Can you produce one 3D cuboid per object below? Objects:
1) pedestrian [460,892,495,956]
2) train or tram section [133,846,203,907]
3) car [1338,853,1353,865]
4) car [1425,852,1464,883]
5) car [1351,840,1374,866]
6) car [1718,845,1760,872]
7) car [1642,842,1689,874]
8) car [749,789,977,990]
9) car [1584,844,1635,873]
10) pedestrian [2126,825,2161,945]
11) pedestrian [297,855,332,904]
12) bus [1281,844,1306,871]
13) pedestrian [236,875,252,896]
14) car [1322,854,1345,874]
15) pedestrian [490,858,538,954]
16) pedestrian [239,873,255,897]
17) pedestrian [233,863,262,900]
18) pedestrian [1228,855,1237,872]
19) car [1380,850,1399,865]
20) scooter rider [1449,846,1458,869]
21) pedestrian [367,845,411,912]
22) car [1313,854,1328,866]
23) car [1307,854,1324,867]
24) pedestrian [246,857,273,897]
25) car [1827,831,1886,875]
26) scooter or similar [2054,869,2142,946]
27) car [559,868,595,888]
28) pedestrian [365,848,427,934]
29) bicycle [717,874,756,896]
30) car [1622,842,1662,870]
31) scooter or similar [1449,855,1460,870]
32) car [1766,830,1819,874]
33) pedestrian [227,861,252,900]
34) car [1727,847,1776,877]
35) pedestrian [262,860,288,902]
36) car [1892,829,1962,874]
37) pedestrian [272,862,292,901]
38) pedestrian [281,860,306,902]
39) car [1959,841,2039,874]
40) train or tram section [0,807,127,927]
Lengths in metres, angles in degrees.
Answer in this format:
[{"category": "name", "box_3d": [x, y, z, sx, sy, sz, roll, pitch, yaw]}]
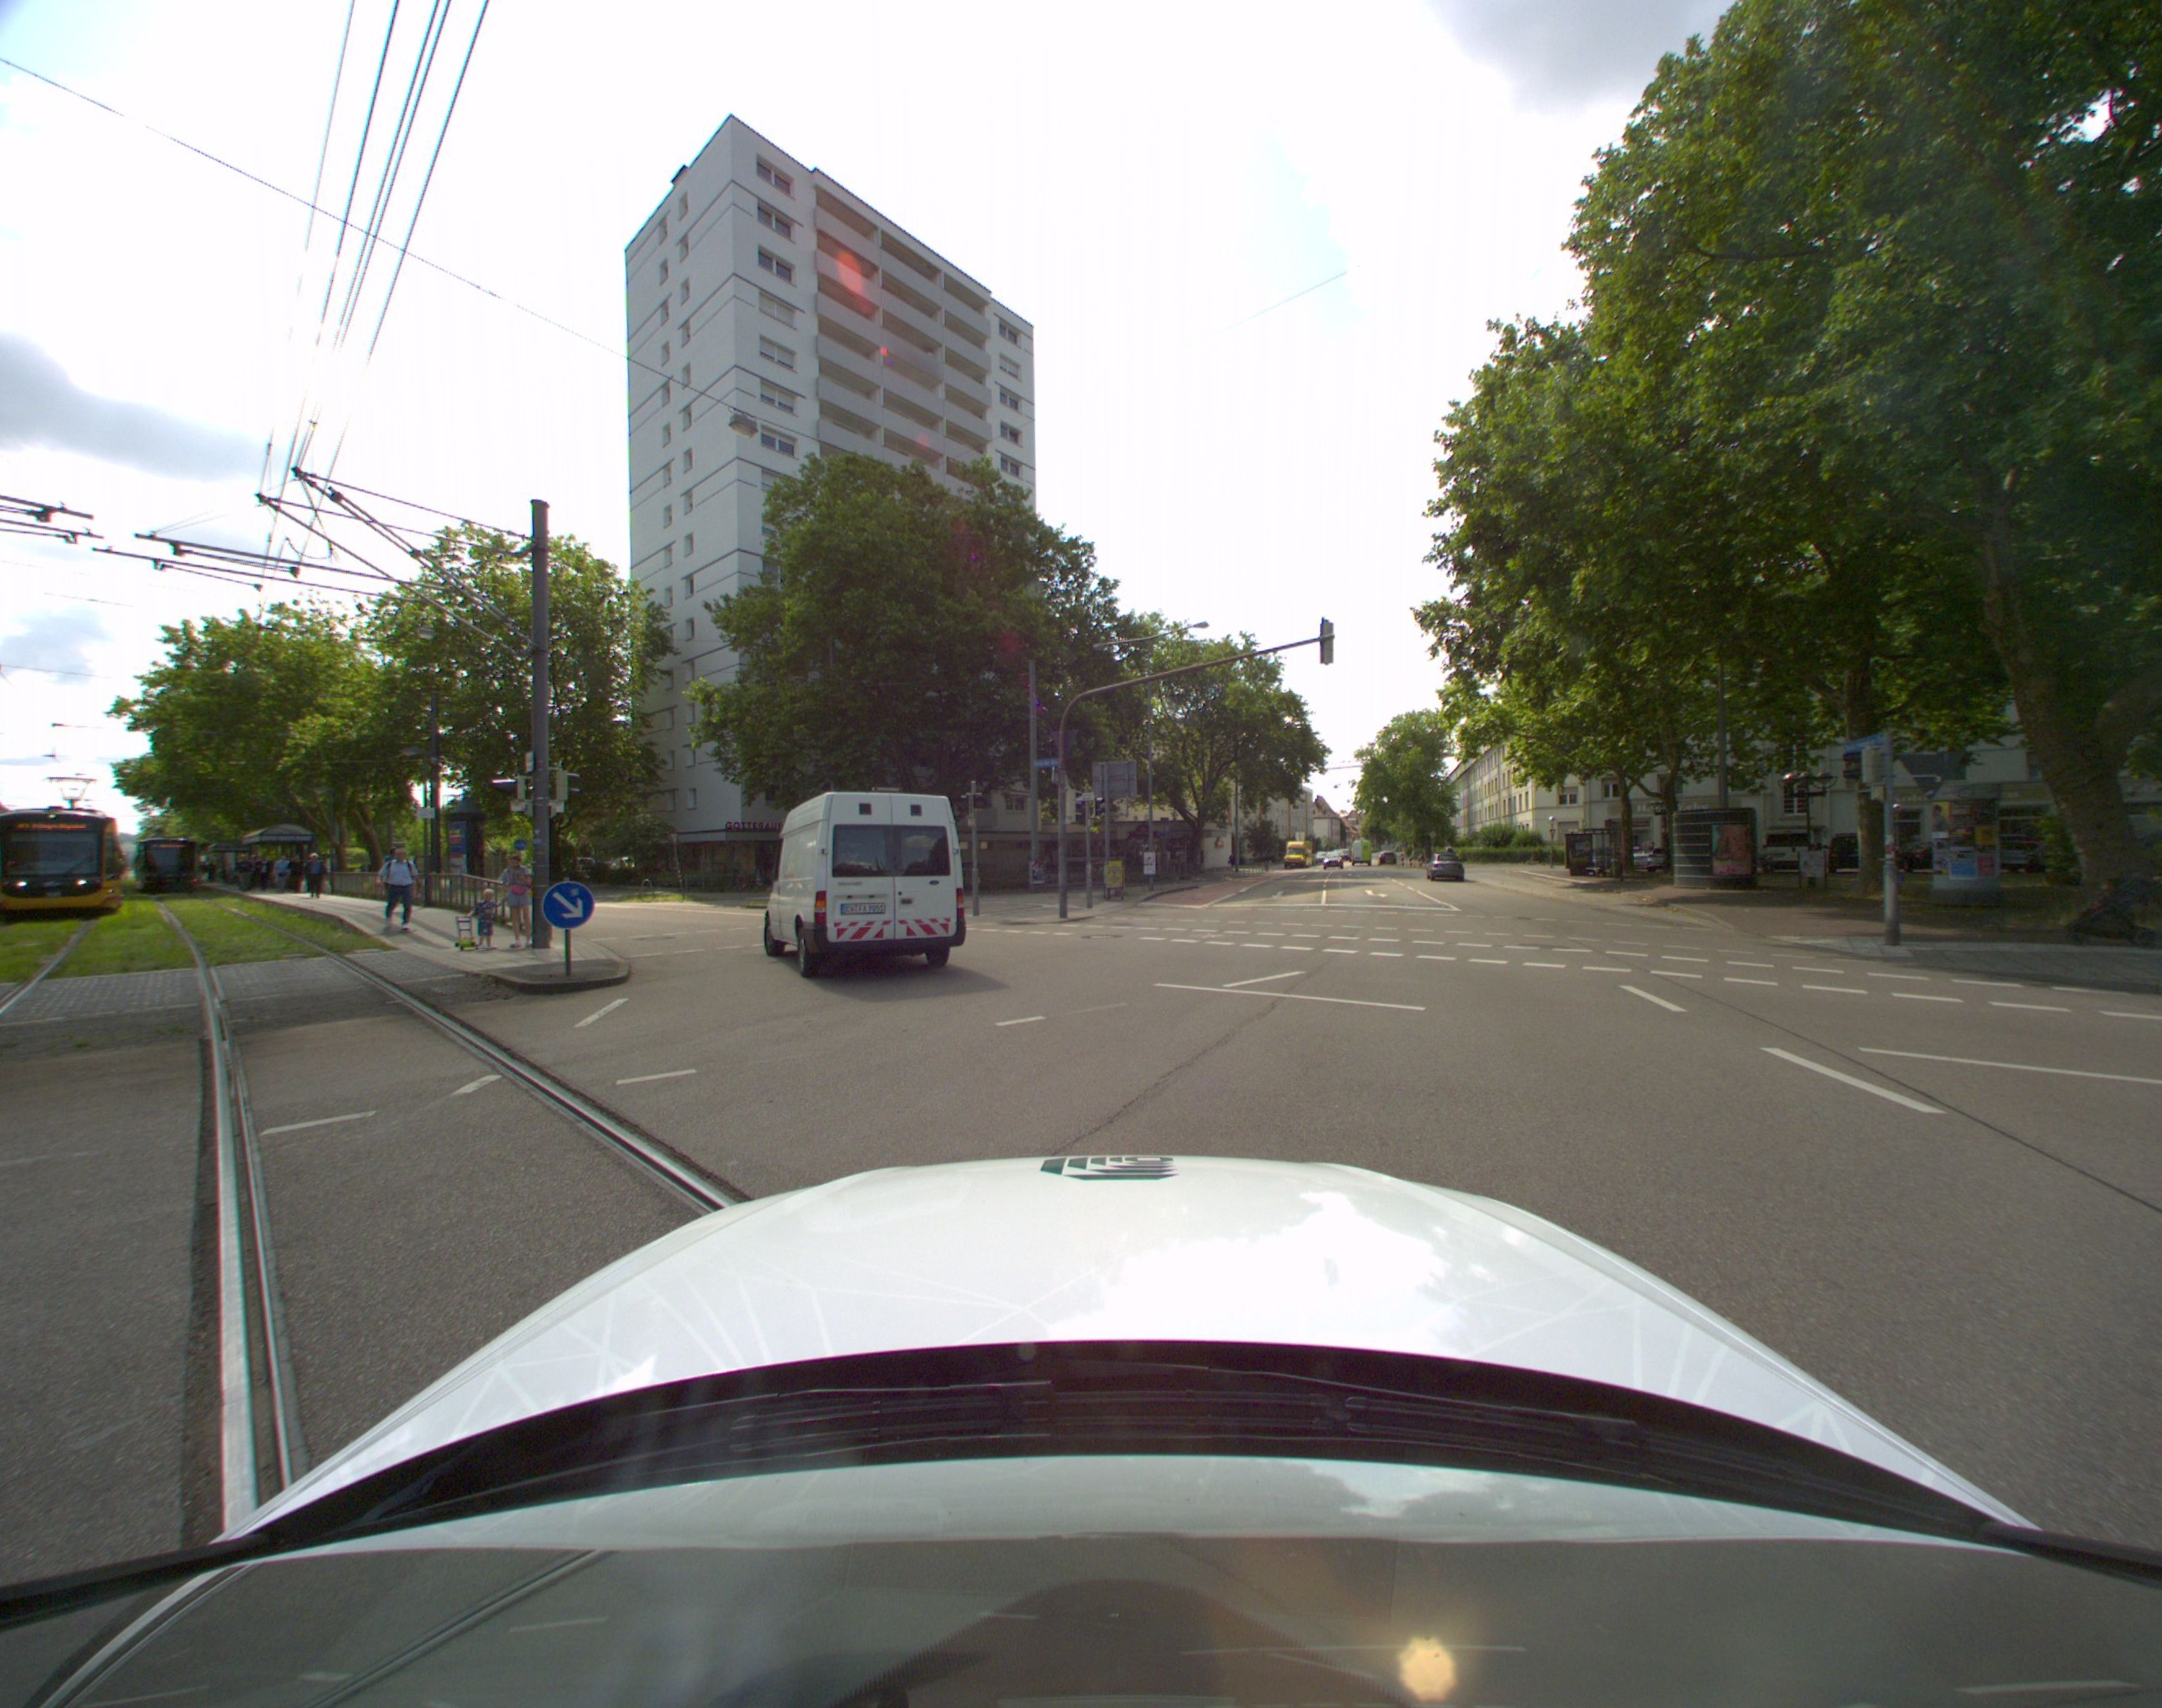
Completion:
[{"category": "pedestrian", "box_3d": [-10.509, 1.209, 14.189, 0.421, 1.063, 0.432, -2, 0, -29]}, {"category": "train or tram section", "box_3d": [-59.990, 1.493, 53.384, 12.848, 3.584, 2.750, -2, -1, 41]}, {"category": "car", "box_3d": [38.511, 0.712, 118.730, 1.846, 1.661, 3.768, -2, 0, 20]}, {"category": "car", "box_3d": [19.903, 0.728, 44.654, 1.677, 1.538, 3.486, -2, 0, 20]}, {"category": "car", "box_3d": [30.344, -0.132, 87.885, 2.102, 2.641, 6.358, -2, 0, 18]}, {"category": "car", "box_3d": [35.444, 0.226, 43.918, 1.451, 1.389, 3.257, -2, 0, 34]}, {"category": "car", "box_3d": [33.635, 0.200, 46.812, 1.887, 1.690, 4.567, -2, -1, 39]}, {"category": "car", "box_3d": [-3.425, 0.416, 11.992, 2.060, 2.333, 4.669, -2, 0, -30]}, {"category": "car", "box_3d": [31.343, 0.258, 48.271, 2.008, 1.600, 4.567, -2, -1, 39]}, {"category": "pedestrian", "box_3d": [15.277, 0.415, 11.251, 0.911, 1.646, 0.574, -2, 0, 43]}, {"category": "pedestrian", "box_3d": [-28.838, 0.949, 30.646, 0.865, 1.775, 0.866, -2, -1, 41]}, {"category": "bus", "box_3d": [22.857, 0.351, 87.378, 2.376, 2.709, 6.396, -2, 0, 16]}, {"category": "pedestrian", "box_3d": [-56.125, 2.113, 54.619, 0.588, 1.403, 0.682, -2, 0, 40]}, {"category": "car", "box_3d": [23.404, 0.926, 75.347, 1.771, 1.661, 4.338, -2, 0, 21]}, {"category": "pedestrian", "box_3d": [-10.284, 0.926, 14.785, 0.628, 1.666, 0.669, -1, 0, -30]}, {"category": "pedestrian", "box_3d": [-55.295, 2.038, 54.003, 0.588, 1.515, 0.682, -2, 0, 40]}, {"category": "pedestrian", "box_3d": [-41.624, 1.376, 40.658, 1.475, 1.801, 0.894, -2, 0, 40]}, {"category": "pedestrian", "box_3d": [13.532, 0.882, 72.686, 0.663, 1.479, 0.579, -1, 0, 25]}, {"category": "car", "box_3d": [33.909, 0.351, 89.628, 1.711, 1.554, 3.650, -2, 0, 18]}, {"category": "scooter rider", "box_3d": [28.832, 0.269, 62.998, 0.522, 1.812, 0.652, -2, 0, 16]}, {"category": "pedestrian", "box_3d": [-20.191, 0.715, 23.770, 0.835, 1.899, 0.835, -2, -1, 41]}, {"category": "car", "box_3d": [34.279, 0.839, 116.355, 1.714, 1.661, 3.768, -2, 0, 20]}, {"category": "car", "box_3d": [29.804, 0.839, 103.340, 1.830, 1.562, 4.019, -2, 0, 19]}, {"category": "pedestrian", "box_3d": [-40.197, 1.121, 39.852, 1.017, 1.872, 0.818, -2, 0, 40]}, {"category": "car", "box_3d": [39.262, -0.058, 41.309, 1.974, 2.076, 4.025, -2, 0, 41]}, {"category": "scooter or similar", "box_3d": [14.718, 0.755, 11.804, 0.699, 1.056, 0.494, -2, 0, 43]}, {"category": "car", "box_3d": [-49.486, 2.381, 79.928, 4.283, 1.815, 1.824, -2, 0, 42]}, {"category": "pedestrian", "box_3d": [-14.836, 0.785, 17.631, 1.031, 1.780, 0.856, -2, 0, 41]}, {"category": "bicycle", "box_3d": [-16.797, 1.498, 39.718, 1.730, 1.009, 0.530, -2, 0, -23]}, {"category": "car", "box_3d": [38.628, 0.114, 56.050, 1.887, 1.796, 4.751, -2, -1, 38]}, {"category": "scooter or similar", "box_3d": [28.830, 0.637, 62.930, 0.544, 1.091, 1.297, -2, 0, 16]}, {"category": "car", "box_3d": [37.127, -0.116, 42.515, 1.974, 2.183, 4.284, -2, 0, 41]}, {"category": "pedestrian", "box_3d": [-40.116, 1.251, 38.835, 1.118, 1.801, 0.718, -2, 0, 40]}, {"category": "car", "box_3d": [33.278, 0.382, 40.479, 1.451, 1.389, 3.086, -2, 0, 32]}, {"category": "pedestrian", "box_3d": [-36.417, 1.230, 36.794, 0.896, 1.849, 0.708, -2, -1, 40]}, {"category": "car", "box_3d": [40.868, -0.125, 39.425, 1.974, 2.076, 4.025, -2, 0, 41]}, {"category": "pedestrian", "box_3d": [-39.272, 1.355, 40.034, 0.531, 1.900, 0.474, -2, 0, 16]}, {"category": "pedestrian", "box_3d": [-35.824, 1.212, 37.049, 0.779, 1.849, 0.708, -2, -1, 40]}, {"category": "car", "box_3d": [42.761, 0.129, 38.034, 1.974, 1.422, 4.025, -2, 0, 41]}, {"category": "train or tram section", "box_3d": [-36.451, 0.537, 29.188, 12.848, 3.584, 2.834, -2, -1, 41]}]
